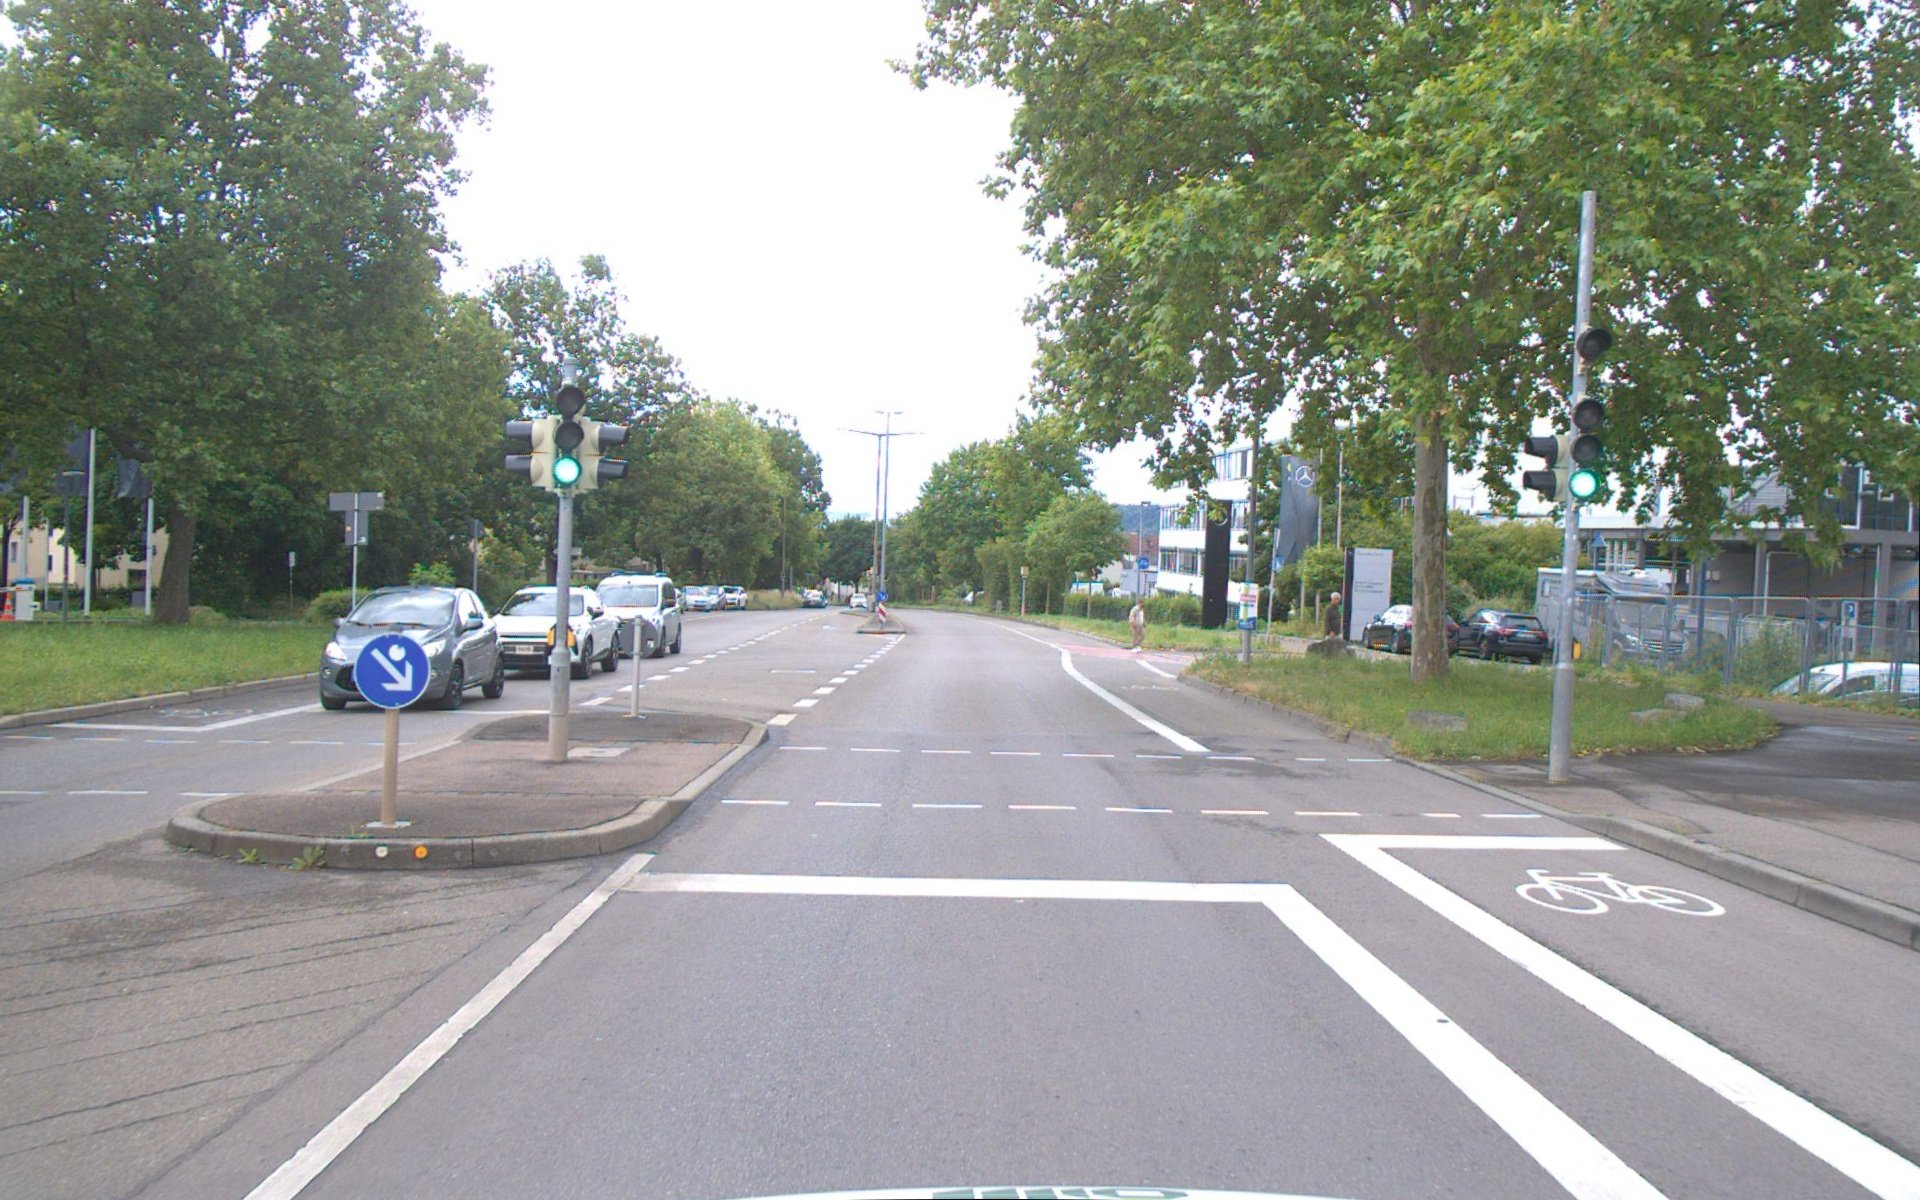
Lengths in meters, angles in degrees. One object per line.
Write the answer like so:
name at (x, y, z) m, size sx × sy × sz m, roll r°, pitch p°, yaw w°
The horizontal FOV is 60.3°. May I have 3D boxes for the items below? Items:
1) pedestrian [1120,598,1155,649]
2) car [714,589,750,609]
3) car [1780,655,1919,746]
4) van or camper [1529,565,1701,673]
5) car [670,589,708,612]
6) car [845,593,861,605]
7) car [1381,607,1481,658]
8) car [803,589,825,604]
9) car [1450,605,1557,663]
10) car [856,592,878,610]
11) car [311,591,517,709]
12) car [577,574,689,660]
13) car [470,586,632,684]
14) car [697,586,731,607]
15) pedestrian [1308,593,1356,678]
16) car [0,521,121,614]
pedestrian at (5.374, 0.705, 50.069) m, size 0.777 × 1.489 × 0.744 m, roll 1°, pitch 0°, yaw -20°
car at (-15.924, -0.047, 115.779) m, size 1.637 × 1.327 × 4.002 m, roll 2°, pitch 0°, yaw 5°
car at (18.591, 2.004, 32.985) m, size 3.662 × 1.646 × 1.689 m, roll 2°, pitch 0°, yaw -6°
van or camper at (19.131, 0.485, 48.749) m, size 1.926 × 2.918 × 6.915 m, roll 1°, pitch 0°, yaw -3°
car at (-17.277, 0.002, 105.351) m, size 1.648 × 1.327 × 3.976 m, roll 2°, pitch 0°, yaw -20°
car at (-11.641, -0.119, 180.521) m, size 1.579 × 1.327 × 3.999 m, roll 2°, pitch 0°, yaw -2°
car at (14.022, 0.937, 49.465) m, size 1.676 × 1.378 × 4.343 m, roll 1°, pitch 0°, yaw -1°
car at (-13.538, -0.325, 153.580) m, size 1.736 × 1.327 × 3.999 m, roll 2°, pitch 0°, yaw -2°
car at (16.289, 0.986, 49.759) m, size 1.676 × 1.534 × 4.343 m, roll 4°, pitch 0°, yaw -1°
car at (-7.073, 0.075, 126.168) m, size 1.579 × 1.327 × 3.999 m, roll 2°, pitch 0°, yaw -2°
car at (-6.844, 0.569, 21.089) m, size 1.516 × 1.354 × 3.652 m, roll 0°, pitch 0°, yaw -2°
car at (-7.340, 0.342, 37.554) m, size 1.809 × 1.835 × 4.648 m, roll 0°, pitch 0°, yaw -3°
car at (-6.987, 0.537, 28.761) m, size 1.809 × 1.547 × 4.813 m, roll 0°, pitch 0°, yaw -3°
car at (-16.459, -0.207, 110.766) m, size 1.638 × 1.327 × 4.000 m, roll 2°, pitch 0°, yaw 0°
pedestrian at (8.243, 0.775, 36.624) m, size 0.733 × 1.833 × 0.859 m, roll 1°, pitch 0°, yaw 33°
car at (-28.558, -1.002, 50.376) m, size 4.870 × 2.709 × 1.998 m, roll 1°, pitch 0°, yaw -6°
